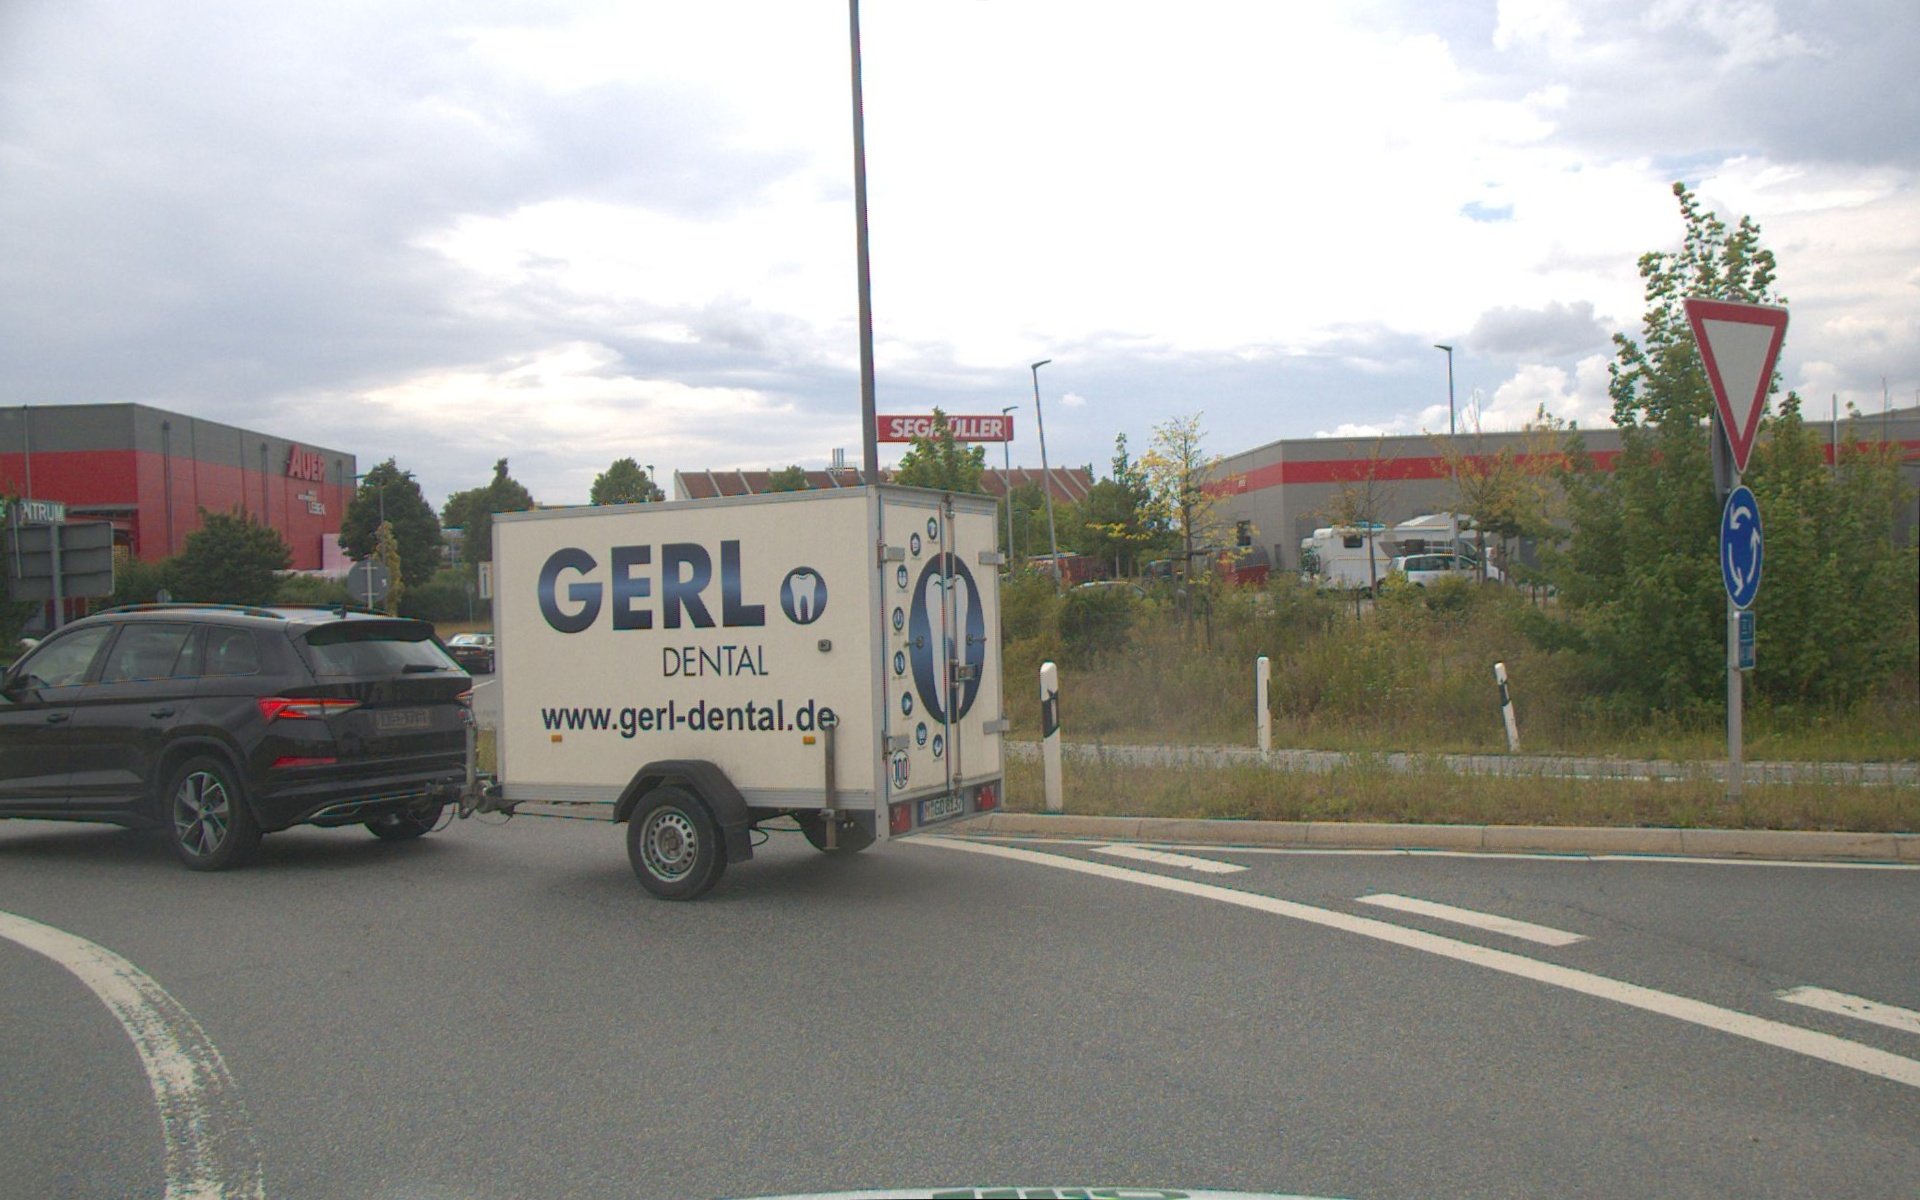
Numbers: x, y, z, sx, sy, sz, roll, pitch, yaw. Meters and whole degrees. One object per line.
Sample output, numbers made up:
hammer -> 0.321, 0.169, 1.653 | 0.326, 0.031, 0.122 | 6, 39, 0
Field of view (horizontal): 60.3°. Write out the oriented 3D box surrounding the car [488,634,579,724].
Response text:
car -> -9.911, 1.764, 38.257 | 1.839, 1.632, 3.719 | -4, 3, -16

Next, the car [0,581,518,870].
car -> -5.461, 0.810, 11.564 | 4.510, 1.699, 1.815 | -2, -1, 27

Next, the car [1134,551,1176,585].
car -> 11.795, -1.921, 100.138 | 1.667, 1.842, 3.967 | -5, 1, -5

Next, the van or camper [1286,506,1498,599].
van or camper -> 16.961, -1.879, 65.151 | 7.562, 3.234, 2.491 | -3, 1, -4

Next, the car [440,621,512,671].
car -> -17.273, 1.630, 59.136 | 1.871, 1.646, 3.992 | -2, -1, -8

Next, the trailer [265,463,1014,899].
trailer -> -1.923, 0.431, 9.806 | 4.052, 2.127, 1.811 | -2, 0, 27

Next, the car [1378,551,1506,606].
car -> 16.969, -0.747, 58.338 | 3.966, 1.750, 1.779 | -2, 0, -1
